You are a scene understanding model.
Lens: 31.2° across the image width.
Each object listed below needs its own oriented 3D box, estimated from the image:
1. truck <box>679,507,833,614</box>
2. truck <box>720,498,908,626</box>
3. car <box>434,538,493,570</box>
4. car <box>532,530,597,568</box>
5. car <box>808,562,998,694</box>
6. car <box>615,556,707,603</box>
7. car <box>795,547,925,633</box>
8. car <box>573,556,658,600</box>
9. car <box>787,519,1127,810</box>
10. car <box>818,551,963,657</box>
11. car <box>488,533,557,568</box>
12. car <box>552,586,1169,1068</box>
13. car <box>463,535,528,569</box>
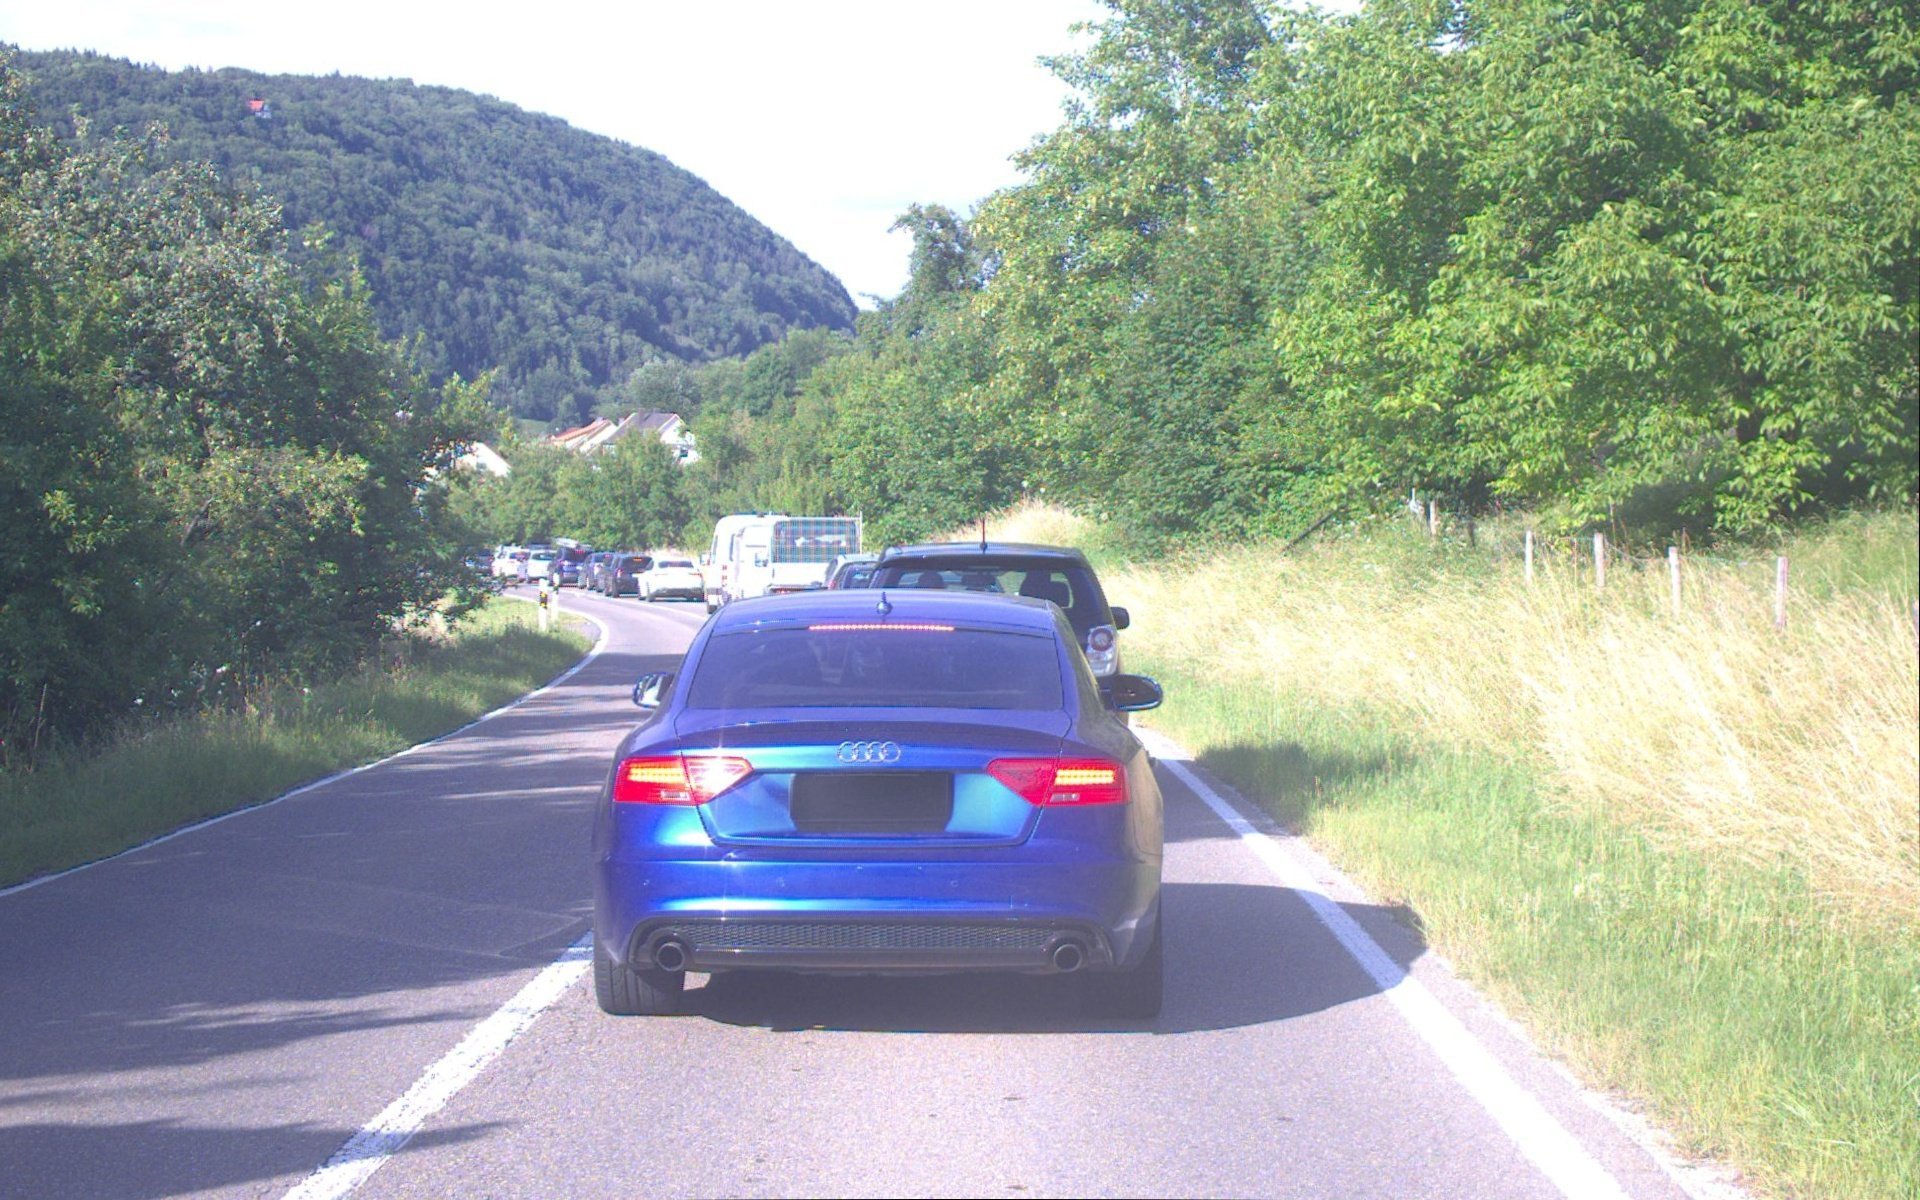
[{"bbox_3d":[-5.572,-1.061,91.827,2.863,2.656,10.648,1,1,-10],"label":"truck"},{"bbox_3d":[-3.429,-0.865,77.619,2.863,2.656,10.396,1,1,-10],"label":"truck"},{"bbox_3d":[-24.347,-2.250,168.423,1.993,1.477,4.001,1,0,-21],"label":"car"},{"bbox_3d":[-16.125,-2.052,139.981,1.993,1.477,4.001,1,0,-16],"label":"car"},{"bbox_3d":[-0.586,0.287,38.466,1.993,1.382,4.000,1,0,1],"label":"car"},{"bbox_3d":[-9.723,-0.682,111.536,1.993,1.477,4.001,1,0,-19],"label":"car"},{"bbox_3d":[-1.840,-0.180,61.964,1.993,1.477,4.001,1,0,-6],"label":"car"},{"bbox_3d":[-11.936,-0.756,118.900,1.993,1.477,4.001,1,0,-19],"label":"car"},{"bbox_3d":[0.005,0.373,22.396,1.993,1.696,4.000,1,0,1],"label":"car"},{"bbox_3d":[-0.991,0.045,50.757,1.993,1.477,4.000,1,0,1],"label":"car"},{"bbox_3d":[-18.933,-2.128,148.612,1.993,1.477,4.001,1,0,-21],"label":"car"},{"bbox_3d":[-0.236,0.653,12.035,1.794,1.355,4.000,1,1,2],"label":"car"},{"bbox_3d":[-21.065,-2.183,155.912,1.993,1.477,4.001,1,0,-21],"label":"car"}]
